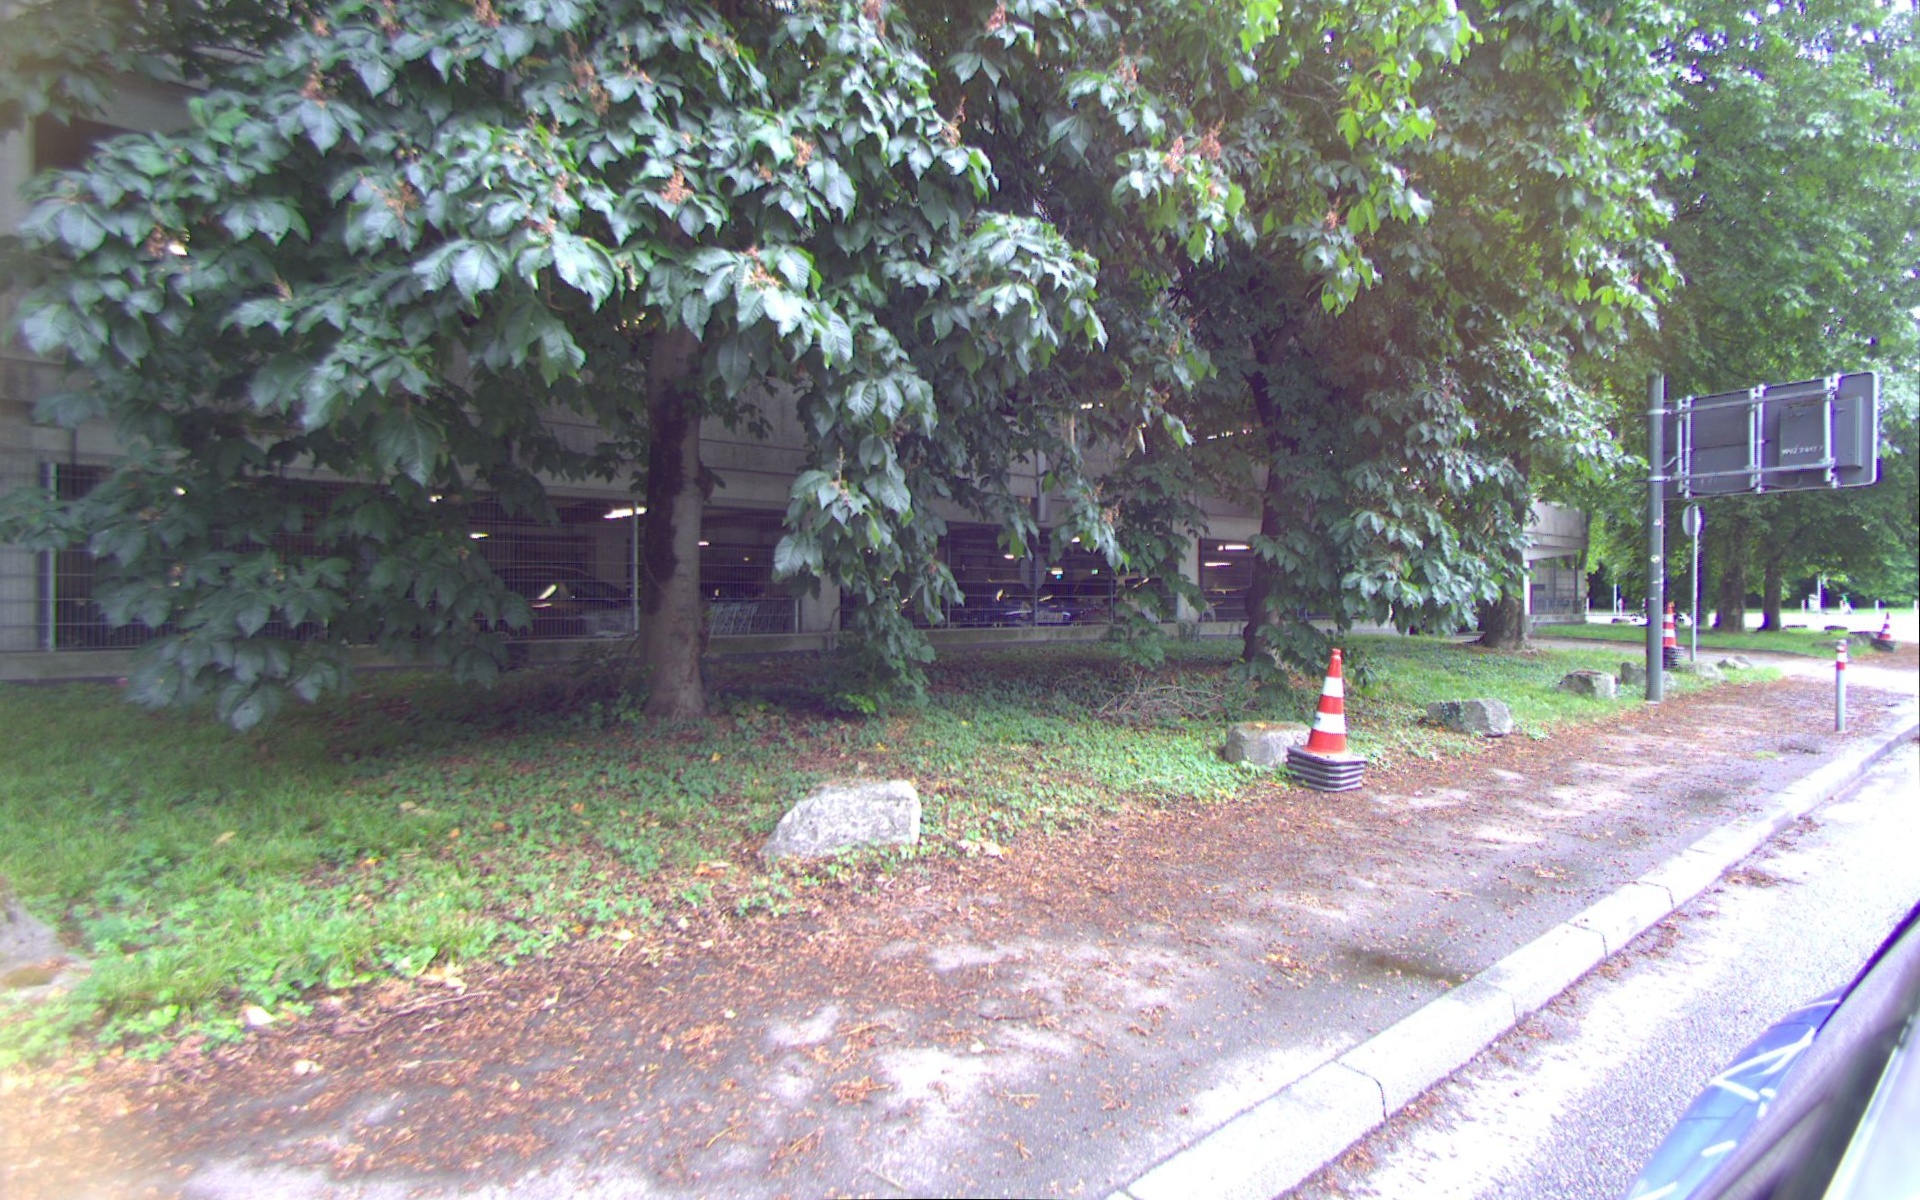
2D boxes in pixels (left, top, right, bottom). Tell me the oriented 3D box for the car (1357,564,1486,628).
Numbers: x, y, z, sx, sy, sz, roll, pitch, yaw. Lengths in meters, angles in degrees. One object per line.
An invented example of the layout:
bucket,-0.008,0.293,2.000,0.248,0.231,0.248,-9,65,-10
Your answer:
car,14.556,-0.139,31.807,4.653,1.858,1.922,-1,0,-41

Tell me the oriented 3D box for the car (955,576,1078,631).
car,1.789,0.073,31.332,3.639,1.565,1.718,-2,1,-42

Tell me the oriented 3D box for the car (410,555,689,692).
car,-6.861,0.304,17.085,3.929,2.039,1.997,-2,0,-40

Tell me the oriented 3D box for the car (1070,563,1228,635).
car,5.087,-0.078,26.821,4.587,1.730,1.588,-2,1,-41

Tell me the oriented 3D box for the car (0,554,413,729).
car,-10.322,0.434,13.899,4.594,2.039,1.996,-2,1,-41

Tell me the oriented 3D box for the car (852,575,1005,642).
car,-0.750,0.178,25.801,3.639,1.565,1.718,-2,1,-42

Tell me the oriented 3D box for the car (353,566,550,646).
car,-11.433,0.094,22.850,3.639,1.627,1.718,-2,1,-42

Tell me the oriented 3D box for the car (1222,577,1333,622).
car,11.375,-0.050,36.146,3.927,1.471,1.876,-2,1,-38

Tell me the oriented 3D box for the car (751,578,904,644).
car,-3.438,0.244,26.545,3.639,1.565,1.718,-2,1,-42

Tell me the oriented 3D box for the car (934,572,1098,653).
car,1.364,0.247,23.808,3.791,1.730,1.588,-2,1,-41

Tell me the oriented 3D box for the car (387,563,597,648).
car,-9.744,0.066,21.205,3.639,1.627,1.718,-2,1,-42

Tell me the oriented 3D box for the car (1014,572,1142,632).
car,3.461,0.031,29.416,3.629,1.606,1.718,-2,1,-42

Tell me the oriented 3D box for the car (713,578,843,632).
car,-5.704,0.125,31.862,3.638,1.565,1.719,-2,1,-41
